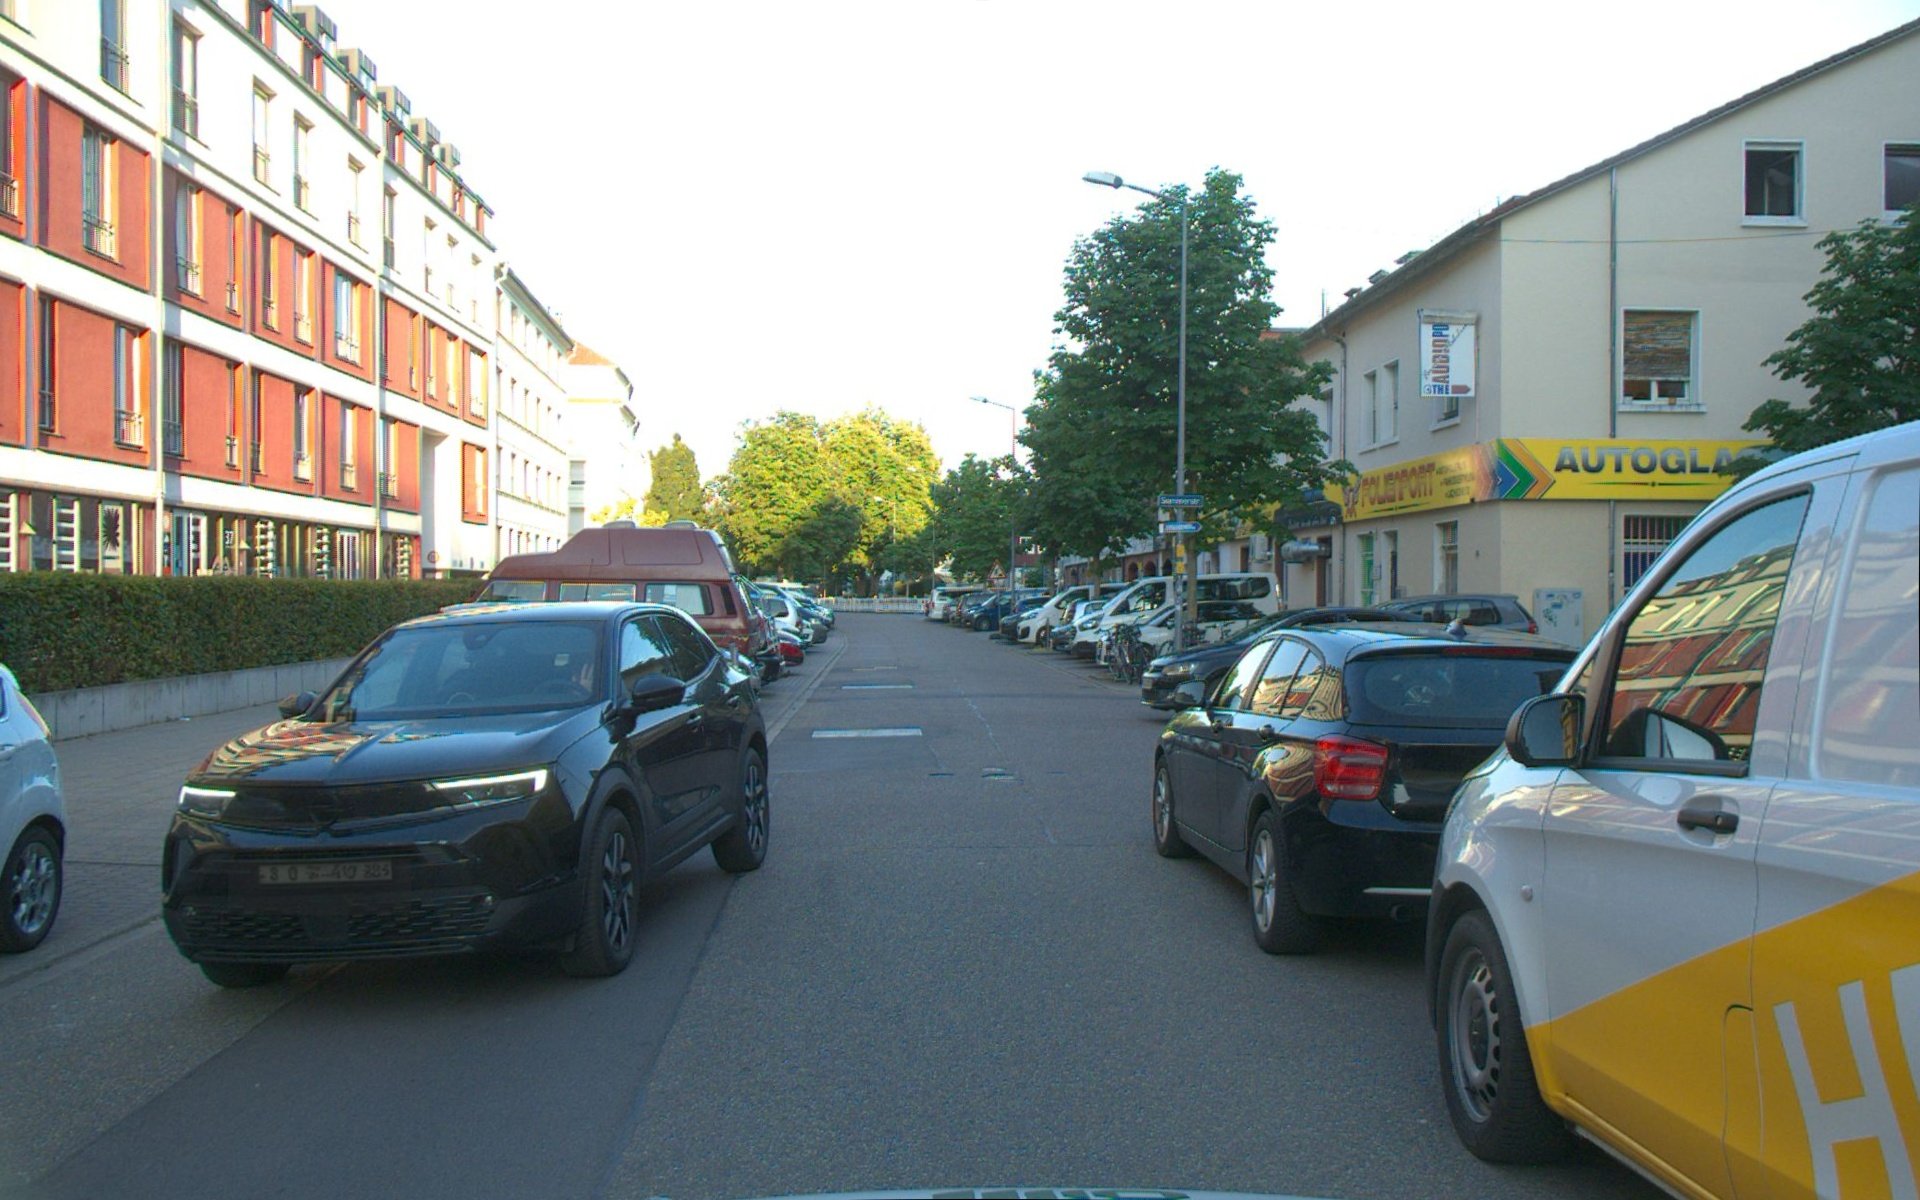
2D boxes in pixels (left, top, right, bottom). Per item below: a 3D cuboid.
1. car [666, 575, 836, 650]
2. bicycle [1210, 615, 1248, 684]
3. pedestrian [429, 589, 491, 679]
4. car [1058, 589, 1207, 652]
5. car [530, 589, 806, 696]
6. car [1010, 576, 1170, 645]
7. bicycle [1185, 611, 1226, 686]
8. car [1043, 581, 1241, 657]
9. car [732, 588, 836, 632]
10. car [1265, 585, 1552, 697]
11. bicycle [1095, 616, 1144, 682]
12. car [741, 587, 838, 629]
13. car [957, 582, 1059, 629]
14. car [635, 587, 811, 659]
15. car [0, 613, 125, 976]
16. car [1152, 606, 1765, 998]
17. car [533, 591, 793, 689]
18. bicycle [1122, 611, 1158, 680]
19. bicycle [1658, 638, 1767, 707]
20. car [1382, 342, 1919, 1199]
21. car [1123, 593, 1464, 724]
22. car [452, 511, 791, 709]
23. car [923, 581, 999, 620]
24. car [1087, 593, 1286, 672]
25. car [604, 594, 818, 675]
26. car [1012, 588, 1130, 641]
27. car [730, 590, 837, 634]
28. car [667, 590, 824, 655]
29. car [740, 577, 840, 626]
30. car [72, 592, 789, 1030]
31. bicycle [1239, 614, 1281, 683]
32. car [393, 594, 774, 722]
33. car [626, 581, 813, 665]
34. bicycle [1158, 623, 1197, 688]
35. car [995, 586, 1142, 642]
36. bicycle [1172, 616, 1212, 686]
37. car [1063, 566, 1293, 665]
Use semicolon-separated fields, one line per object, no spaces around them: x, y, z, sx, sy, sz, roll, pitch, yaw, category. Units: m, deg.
-6.115;0.370;48.798;4.753;2.056;1.905;1;0;-3;car
4.990;0.911;30.729;0.378;1.221;1.481;-1;0;-2;bicycle
-8.657;0.583;28.656;0.815;1.527;0.798;1;0;-2;pedestrian
4.739;0.555;45.775;3.833;1.552;1.938;-2;0;-2;car
-4.583;0.656;26.439;4.126;1.565;1.789;1;0;-4;car
4.132;0.323;53.105;4.847;1.992;2.047;-2;0;-4;car
4.572;0.877;30.869;0.378;1.327;2.016;-1;0;-2;bicycle
4.690;0.484;43.139;4.844;1.772;2.049;-2;0;-2;car
-7.408;0.426;69.849;4.171;1.744;1.999;1;0;-3;car
6.916;0.604;25.734;3.968;1.540;1.756;-1;2;-2;car
2.938;0.887;30.589;0.430;1.150;2.014;-1;0;-7;bicycle
-7.650;0.368;74.613;4.171;1.780;1.999;1;0;-3;car
2.155;0.233;75.285;4.394;1.945;1.685;-2;0;-7;car
-5.949;0.565;41.890;4.171;1.689;1.999;1;0;-3;car
-4.918;0.853;6.381;1.618;1.557;4.013;1;0;-5;car
2.170;0.788;8.474;1.687;1.449;4.251;1;0;-2;car
-5.137;0.677;28.983;4.121;1.565;1.843;1;0;3;car
3.339;0.828;30.791;0.378;1.221;2.016;-1;0;-2;bicycle
11.951;1.153;26.268;1.570;1.037;0.343;1;2;-4;bicycle
2.465;0.547;3.045;1.855;1.917;5.079;1;0;-3;car
4.143;0.682;20.711;3.862;1.480;1.652;-1;1;-14;car
-4.775;0.139;23.861;4.419;2.629;2.000;1;0;-1;car
0.036;0.015;90.808;3.893;1.945;2.046;-2;0;-7;car
4.757;0.664;35.007;3.842;1.476;1.766;-2;0;-5;car
-5.055;0.691;34.031;4.124;1.516;1.849;1;0;-2;car
4.188;0.540;62.795;4.232;1.835;1.809;-2;0;-4;car
-7.134;0.488;67.118;4.172;1.650;1.999;1;0;-3;car
-5.944;0.604;46.248;4.171;1.681;1.887;1;0;-3;car
-7.896;0.074;77.242;4.442;2.171;1.999;1;0;-3;car
-2.127;0.755;7.917;1.741;1.544;4.003;-1;0;7;car
5.557;0.882;30.719;0.436;1.221;1.481;-1;0;-2;bicycle
-4.711;0.721;21.285;4.526;1.486;1.878;1;0;-6;car
-5.672;0.535;39.428;4.171;1.868;1.999;1;0;-3;car
4.038;1.013;30.852;0.378;1.133;2.016;-1;0;-2;bicycle
3.768;0.477;57.870;4.847;1.718;2.075;-2;0;-4;car
4.317;0.935;30.849;0.378;1.221;2.016;-1;0;-2;bicycle
4.911;0.328;37.801;4.889;2.018;2.219;-2;0;-2;car
